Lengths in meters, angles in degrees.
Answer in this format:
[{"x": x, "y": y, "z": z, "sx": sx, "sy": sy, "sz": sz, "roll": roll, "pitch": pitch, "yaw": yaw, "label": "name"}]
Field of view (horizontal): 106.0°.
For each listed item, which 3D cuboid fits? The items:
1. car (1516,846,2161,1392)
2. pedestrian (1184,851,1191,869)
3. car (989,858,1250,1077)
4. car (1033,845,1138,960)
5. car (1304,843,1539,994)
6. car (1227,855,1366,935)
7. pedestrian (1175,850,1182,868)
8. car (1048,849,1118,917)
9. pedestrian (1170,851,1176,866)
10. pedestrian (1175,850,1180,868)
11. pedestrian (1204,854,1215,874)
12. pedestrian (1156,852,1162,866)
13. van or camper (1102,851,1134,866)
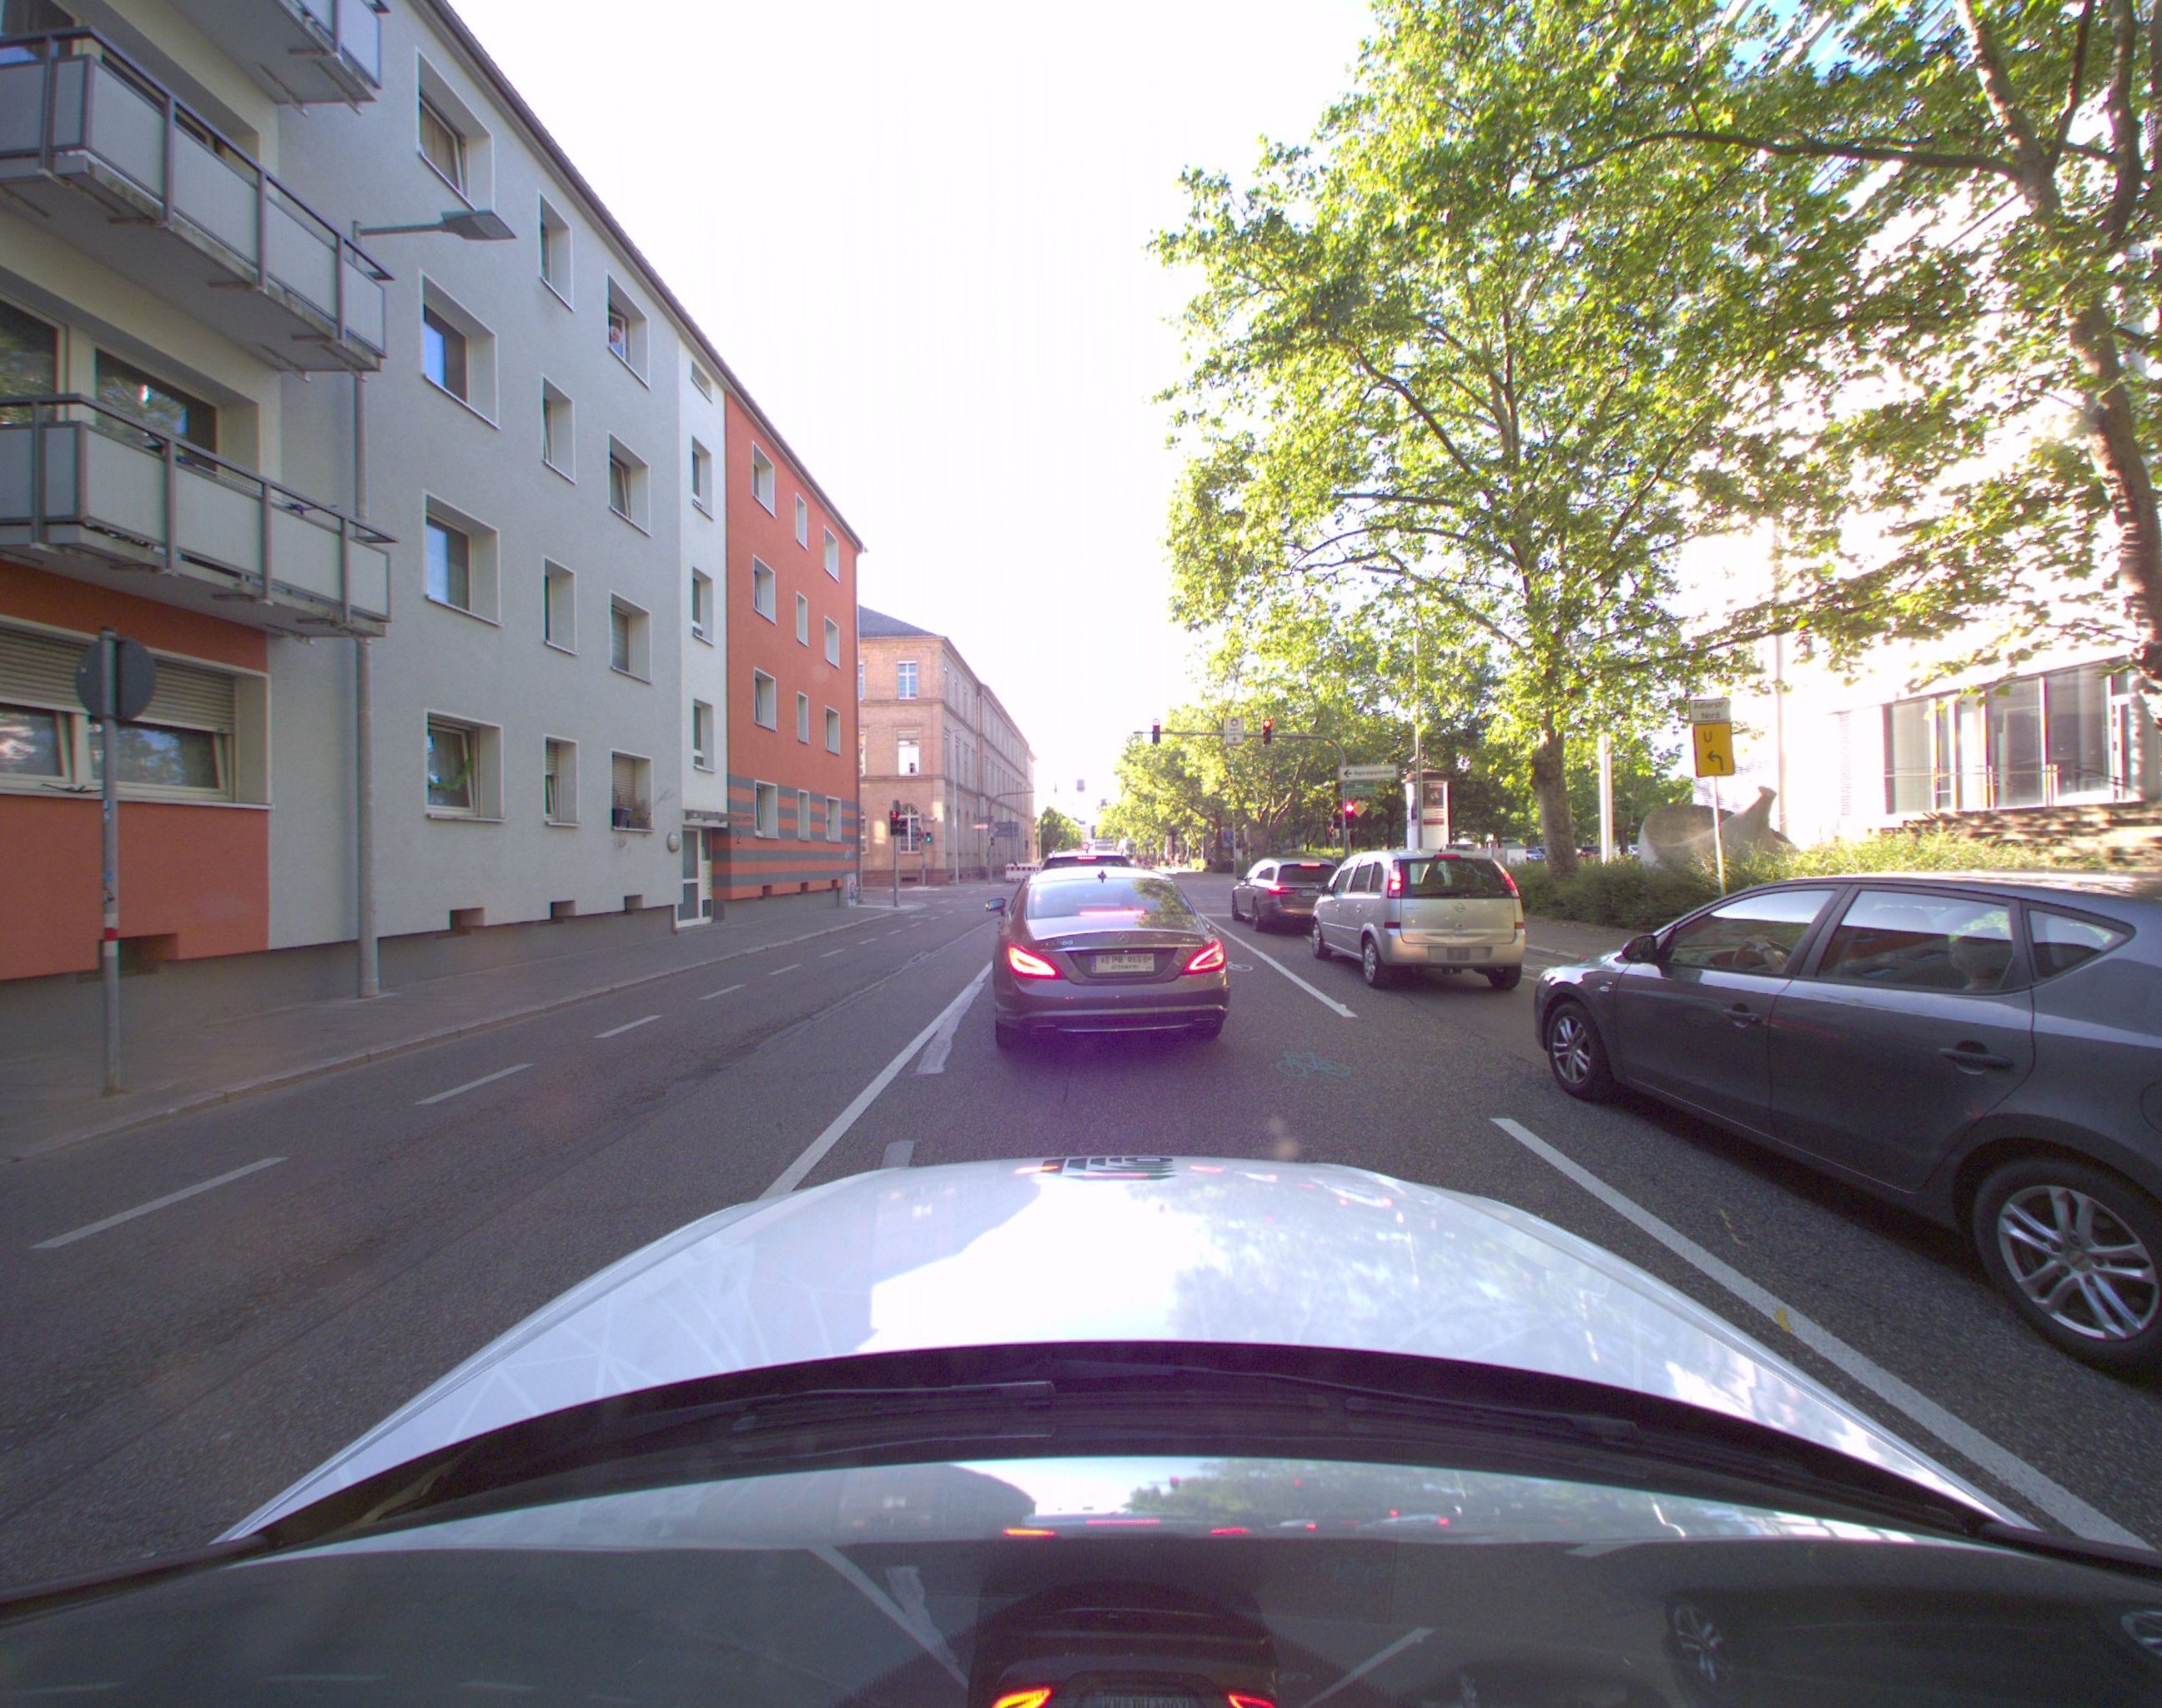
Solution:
[{"x": 3.809, "y": 0.720, "z": 3.691, "sx": 1.638, "sy": 1.482, "sz": 3.978, "roll": -1, "pitch": 0, "yaw": 2, "label": "car"}, {"x": 10.894, "y": 0.628, "z": 83.180, "sx": 0.601, "sy": 1.821, "sz": 0.652, "roll": -1, "pitch": 0, "yaw": 1, "label": "pedestrian"}, {"x": 0.089, "y": 0.781, "z": 7.788, "sx": 1.801, "sy": 1.456, "sz": 4.342, "roll": -1, "pitch": 0, "yaw": -5, "label": "car"}, {"x": 0.059, "y": 0.708, "z": 13.790, "sx": 1.513, "sy": 1.647, "sz": 3.879, "roll": -1, "pitch": 0, "yaw": 0, "label": "car"}, {"x": 4.189, "y": 0.695, "z": 10.701, "sx": 1.694, "sy": 1.603, "sz": 3.863, "roll": 1, "pitch": 0, "yaw": 4, "label": "car"}, {"x": 4.446, "y": 0.769, "z": 17.549, "sx": 1.905, "sy": 1.464, "sz": 4.671, "roll": 0, "pitch": 0, "yaw": 2, "label": "car"}, {"x": 10.001, "y": 0.541, "z": 83.276, "sx": 0.601, "sy": 1.821, "sz": 0.652, "roll": -1, "pitch": 0, "yaw": 1, "label": "pedestrian"}, {"x": 0.125, "y": 0.766, "z": 23.365, "sx": 1.813, "sy": 1.762, "sz": 4.002, "roll": -1, "pitch": 0, "yaw": 2, "label": "car"}, {"x": 11.028, "y": 0.542, "z": 97.832, "sx": 0.609, "sy": 1.821, "sz": 0.933, "roll": -1, "pitch": 0, "yaw": 2, "label": "pedestrian"}, {"x": 11.165, "y": 0.570, "z": 94.300, "sx": 0.537, "sy": 2.014, "sz": 0.474, "roll": 0, "pitch": -1, "yaw": 1, "label": "pedestrian"}, {"x": 10.262, "y": 0.796, "z": 65.132, "sx": 0.827, "sy": 1.606, "sz": 0.652, "roll": -1, "pitch": 0, "yaw": 1, "label": "pedestrian"}, {"x": 10.168, "y": 0.650, "z": 106.518, "sx": 0.699, "sy": 1.837, "sz": 0.736, "roll": -1, "pitch": 0, "yaw": -1, "label": "pedestrian"}, {"x": 4.788, "y": 0.597, "z": 106.452, "sx": 2.007, "sy": 1.941, "sz": 4.548, "roll": -1, "pitch": 0, "yaw": -32, "label": "van or camper"}]
